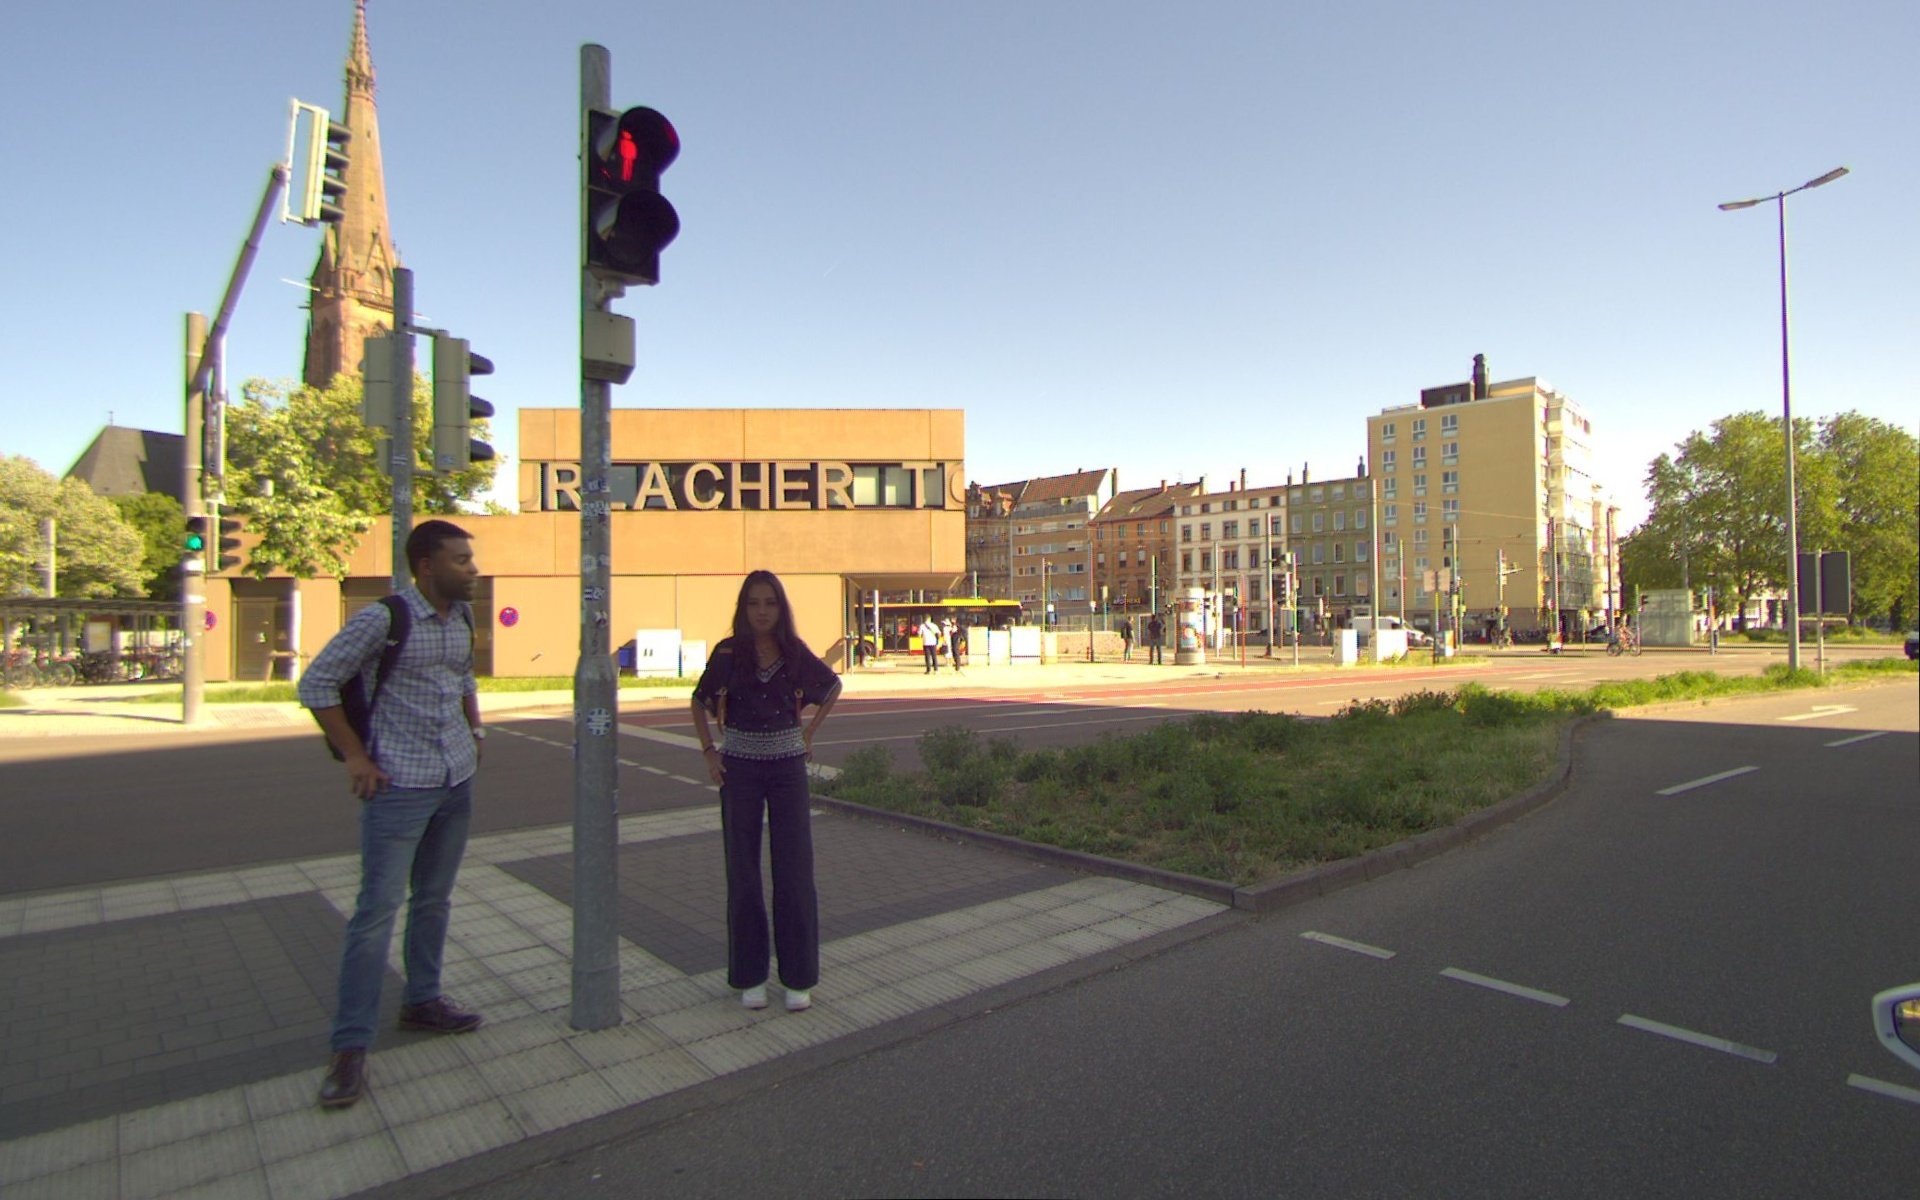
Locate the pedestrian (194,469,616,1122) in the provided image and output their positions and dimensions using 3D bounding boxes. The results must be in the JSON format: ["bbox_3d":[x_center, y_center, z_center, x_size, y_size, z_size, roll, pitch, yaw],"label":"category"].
[{"bbox_3d":[-1.870,0.564,3.435,1.075,1.857,0.756,0,-1,25],"label":"pedestrian"}]

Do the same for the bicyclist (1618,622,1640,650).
[{"bbox_3d":[34.657,1.853,52.059,0.636,1.463,0.770,1,-1,-32],"label":"bicyclist"}]

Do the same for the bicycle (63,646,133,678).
[{"bbox_3d":[-29.062,2.094,33.872,1.754,1.051,0.568,0,-3,-5],"label":"bicycle"}]

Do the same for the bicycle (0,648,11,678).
[{"bbox_3d":[-34.465,2.216,35.199,1.754,1.051,0.568,0,-3,-5],"label":"bicycle"}]

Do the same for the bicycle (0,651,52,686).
[{"bbox_3d":[-28.853,2.076,30.606,1.754,1.051,0.568,0,-3,-5],"label":"bicycle"}]

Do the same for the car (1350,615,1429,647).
[{"bbox_3d":[34.146,2.488,79.967,5.428,2.443,1.988,-2,-2,43],"label":"car"}]

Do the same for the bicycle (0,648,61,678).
[{"bbox_3d":[-32.398,2.181,34.860,1.754,1.051,0.568,0,-3,-5],"label":"bicycle"}]

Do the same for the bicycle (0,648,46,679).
[{"bbox_3d":[-32.358,2.157,34.227,1.754,1.051,0.568,0,-3,-5],"label":"bicycle"}]

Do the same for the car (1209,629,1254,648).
[{"bbox_3d":[27.398,3.848,101.387,3.946,1.795,1.987,-2,0,45],"label":"car"}]

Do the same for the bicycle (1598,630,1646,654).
[{"bbox_3d":[33.800,2.149,51.294,0.636,1.180,1.940,1,-1,-31],"label":"bicycle"}]

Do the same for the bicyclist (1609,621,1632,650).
[{"bbox_3d":[33.771,1.808,51.349,0.636,1.463,0.770,1,-1,-31],"label":"bicyclist"}]

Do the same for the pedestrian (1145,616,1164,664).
[{"bbox_3d":[7.337,1.486,37.936,0.634,1.765,0.791,1,0,10],"label":"pedestrian"}]

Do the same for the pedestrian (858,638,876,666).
[{"bbox_3d":[-3.313,1.842,35.851,0.563,0.978,0.509,2,-2,3],"label":"pedestrian"}]

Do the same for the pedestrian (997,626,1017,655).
[{"bbox_3d":[2.358,2.026,50.307,0.785,1.412,0.639,-1,-1,28],"label":"pedestrian"}]

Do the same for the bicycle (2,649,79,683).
[{"bbox_3d":[-28.910,2.076,31.604,1.754,1.051,0.568,0,-3,-5],"label":"bicycle"}]

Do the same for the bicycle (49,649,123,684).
[{"bbox_3d":[-26.438,2.014,30.409,1.752,1.051,0.568,0,-3,3],"label":"bicycle"}]

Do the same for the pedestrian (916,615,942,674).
[{"bbox_3d":[-0.914,1.337,30.142,0.584,1.745,0.791,1,-2,10],"label":"pedestrian"}]

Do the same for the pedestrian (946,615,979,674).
[{"bbox_3d":[0.083,1.364,30.784,0.740,1.745,0.638,3,-2,-29],"label":"pedestrian"}]

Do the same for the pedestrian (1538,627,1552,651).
[{"bbox_3d":[35.348,2.372,60.694,0.587,1.427,0.565,-1,1,44],"label":"pedestrian"}]

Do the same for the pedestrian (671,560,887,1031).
[{"bbox_3d":[-0.730,0.690,3.955,0.709,1.633,0.678,0,-1,-23],"label":"pedestrian"}]

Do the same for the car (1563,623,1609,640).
[{"bbox_3d":[57.397,2.919,92.123,3.393,1.530,1.684,-1,-2,41],"label":"car"}]

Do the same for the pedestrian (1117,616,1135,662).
[{"bbox_3d":[6.555,1.543,39.661,0.634,1.745,0.791,1,-2,10],"label":"pedestrian"}]

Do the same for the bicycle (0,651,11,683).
[{"bbox_3d":[-32.262,2.204,32.859,1.754,1.051,0.568,0,-3,-5],"label":"bicycle"}]

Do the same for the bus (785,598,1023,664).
[{"bbox_3d":[-2.931,1.640,53.757,12.344,3.258,2.973,-1,-1,-2],"label":"bus"}]

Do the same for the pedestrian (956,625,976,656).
[{"bbox_3d":[0.315,2.086,51.797,0.793,1.555,0.633,1,-2,-39],"label":"pedestrian"}]

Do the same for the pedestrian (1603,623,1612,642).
[{"bbox_3d":[57.049,2.874,88.491,0.599,1.632,0.797,-1,0,37],"label":"pedestrian"}]

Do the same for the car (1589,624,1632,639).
[{"bbox_3d":[61.517,3.006,94.994,3.224,1.334,1.518,-2,0,40],"label":"car"}]

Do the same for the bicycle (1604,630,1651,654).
[{"bbox_3d":[34.614,2.167,52.117,0.636,1.180,1.940,1,-1,-31],"label":"bicycle"}]

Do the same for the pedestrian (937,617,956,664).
[{"bbox_3d":[-0.512,1.546,38.206,0.634,1.745,0.790,2,-2,-2],"label":"pedestrian"}]

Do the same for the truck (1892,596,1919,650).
[{"bbox_3d":[44.676,1.002,44.399,6.777,2.344,2.212,0,-2,-19],"label":"truck"}]

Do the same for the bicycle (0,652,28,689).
[{"bbox_3d":[-28.448,2.054,29.365,1.754,1.051,0.568,0,-3,-5],"label":"bicycle"}]

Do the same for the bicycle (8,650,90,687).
[{"bbox_3d":[-26.488,1.987,29.222,1.754,1.051,0.568,0,-3,-5],"label":"bicycle"}]

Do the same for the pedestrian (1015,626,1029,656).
[{"bbox_3d":[3.153,2.085,51.327,0.628,1.555,0.963,0,-1,-3],"label":"pedestrian"}]

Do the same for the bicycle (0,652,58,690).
[{"bbox_3d":[-26.589,1.982,28.261,1.754,1.051,0.568,0,-3,-5],"label":"bicycle"}]
